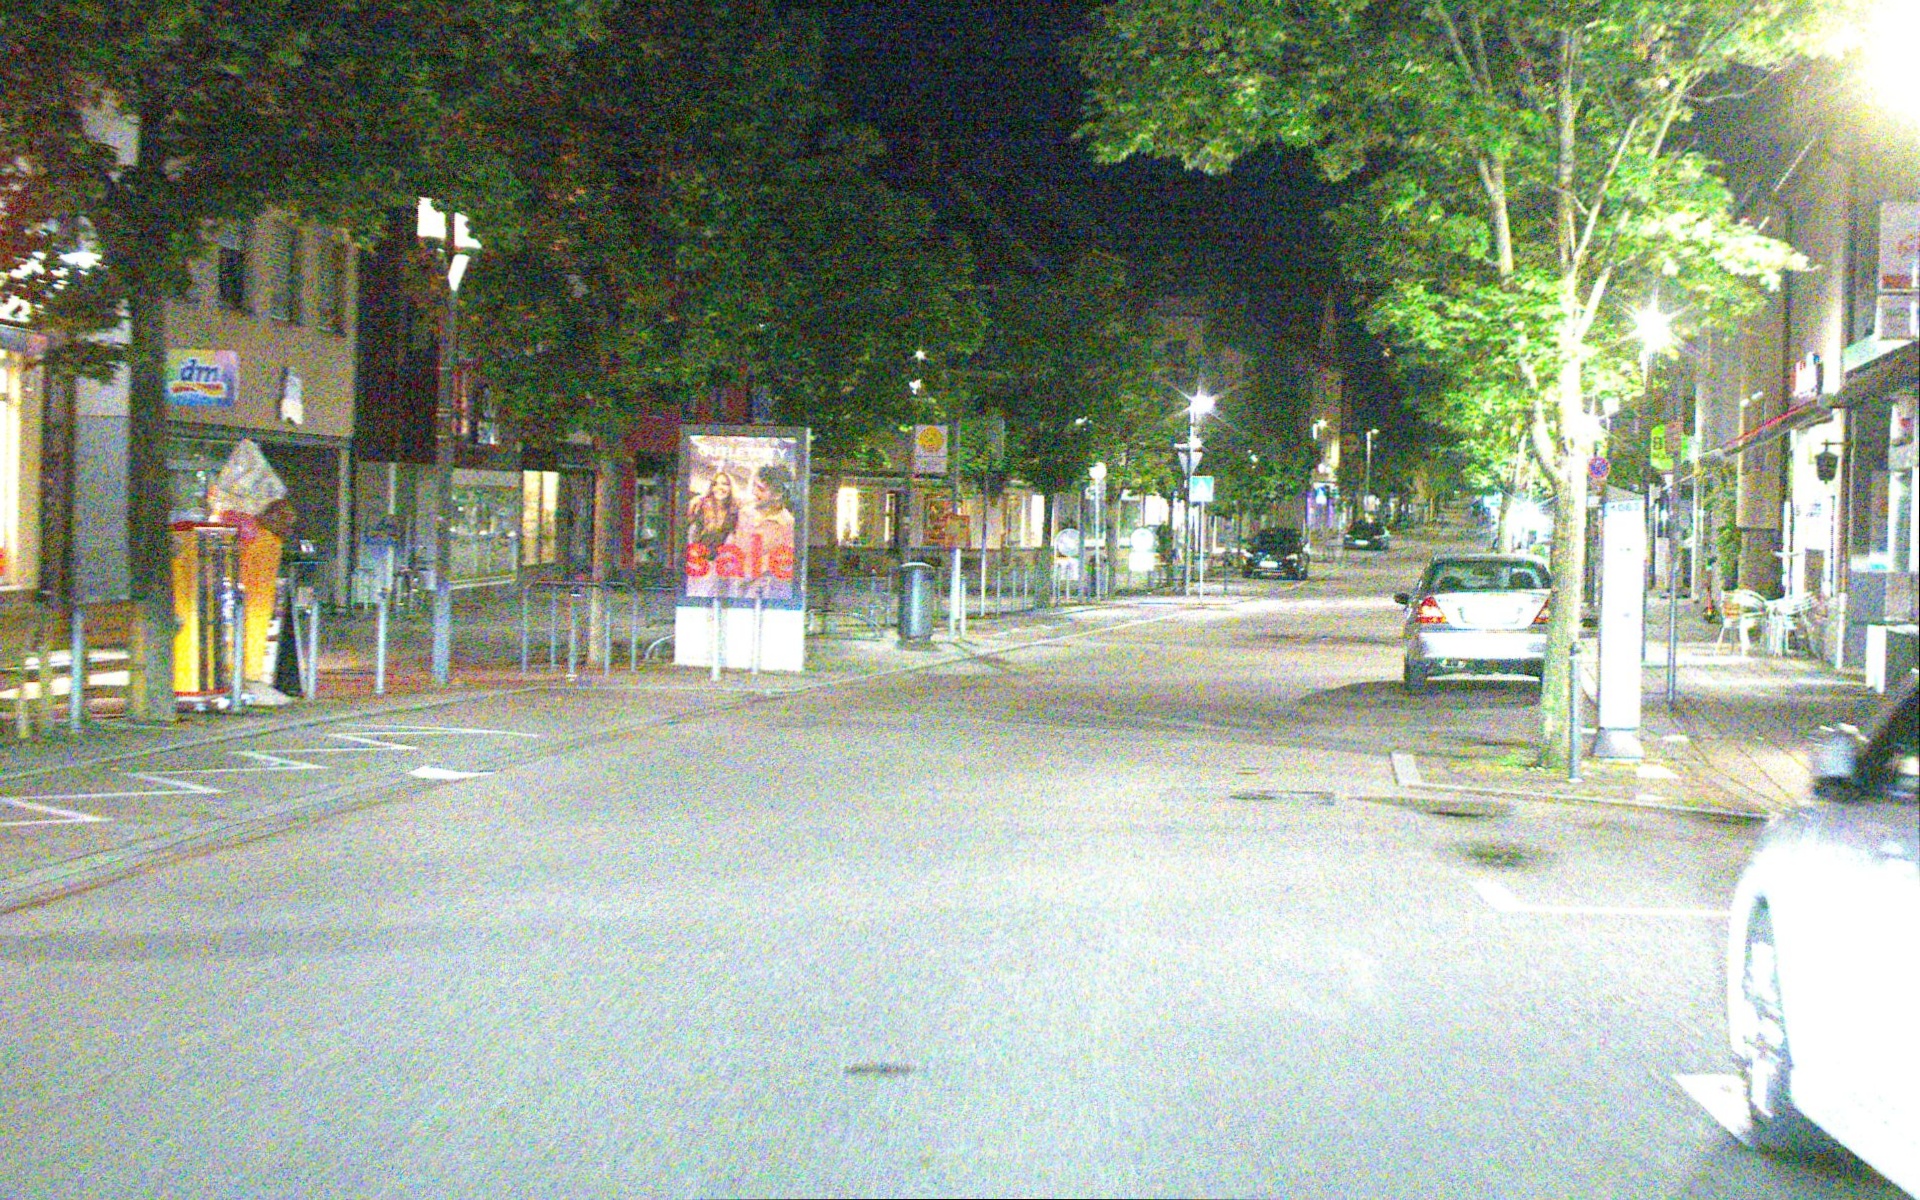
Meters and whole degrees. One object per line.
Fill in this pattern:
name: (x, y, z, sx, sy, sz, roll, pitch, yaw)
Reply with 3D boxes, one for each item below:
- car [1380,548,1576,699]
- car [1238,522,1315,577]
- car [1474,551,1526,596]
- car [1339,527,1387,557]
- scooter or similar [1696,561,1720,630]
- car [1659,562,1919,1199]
car: (5.463, 0.201, 36.684, 1.734, 1.436, 4.496, 1, 1, 5)
car: (10.542, -1.694, 114.247, 2.019, 1.685, 5.001, 3, 2, 10)
car: (18.602, -0.933, 118.448, 1.675, 1.454, 3.675, 1, 1, 8)
car: (19.659, -2.838, 167.578, 1.915, 1.366, 4.455, 1, 2, 12)
scooter or similar: (14.064, -0.089, 64.657, 0.373, 1.272, 1.305, 1, 0, 11)
car: (2.755, 0.683, 7.225, 1.742, 1.482, 4.636, 1, 0, 2)
